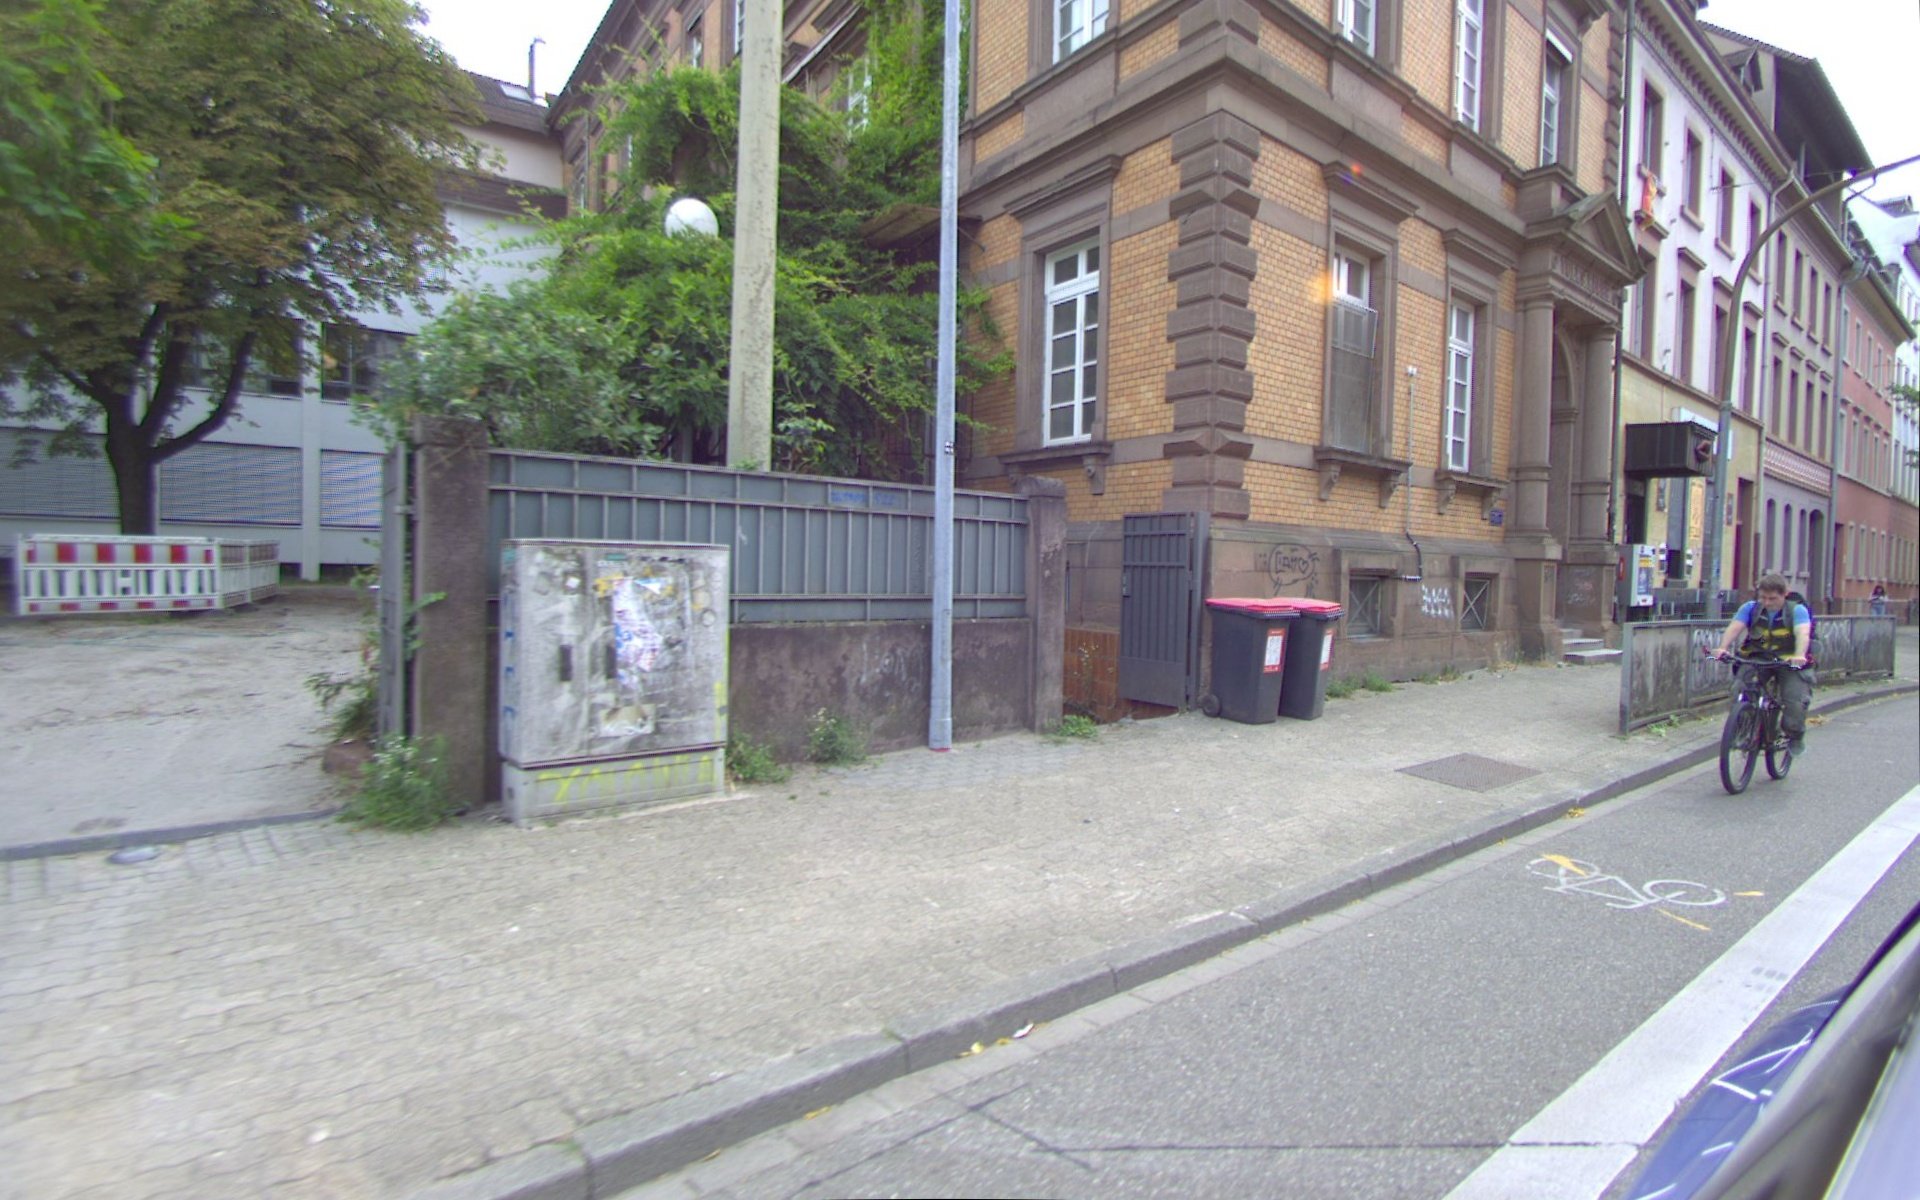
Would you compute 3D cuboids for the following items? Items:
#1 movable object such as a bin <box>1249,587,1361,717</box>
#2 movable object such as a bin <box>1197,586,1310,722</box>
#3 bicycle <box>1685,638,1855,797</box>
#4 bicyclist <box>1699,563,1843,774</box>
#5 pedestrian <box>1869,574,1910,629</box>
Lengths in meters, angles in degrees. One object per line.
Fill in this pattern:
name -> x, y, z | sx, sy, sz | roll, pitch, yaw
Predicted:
movable object such as a bin -> 3.204, 0.454, 9.412 | 0.689, 1.095, 0.664 | -1, 6, -43
movable object such as a bin -> 2.617, 0.450, 9.024 | 0.666, 1.095, 0.652 | -1, 6, -43
bicycle -> 6.355, 0.851, 7.909 | 1.768, 1.031, 0.714 | 0, 0, -40
bicyclist -> 6.309, 0.495, 7.875 | 0.902, 1.526, 0.715 | 1, -1, -41
pedestrian -> 30.117, 0.044, 32.784 | 0.910, 1.708, 0.732 | 0, 5, -40
